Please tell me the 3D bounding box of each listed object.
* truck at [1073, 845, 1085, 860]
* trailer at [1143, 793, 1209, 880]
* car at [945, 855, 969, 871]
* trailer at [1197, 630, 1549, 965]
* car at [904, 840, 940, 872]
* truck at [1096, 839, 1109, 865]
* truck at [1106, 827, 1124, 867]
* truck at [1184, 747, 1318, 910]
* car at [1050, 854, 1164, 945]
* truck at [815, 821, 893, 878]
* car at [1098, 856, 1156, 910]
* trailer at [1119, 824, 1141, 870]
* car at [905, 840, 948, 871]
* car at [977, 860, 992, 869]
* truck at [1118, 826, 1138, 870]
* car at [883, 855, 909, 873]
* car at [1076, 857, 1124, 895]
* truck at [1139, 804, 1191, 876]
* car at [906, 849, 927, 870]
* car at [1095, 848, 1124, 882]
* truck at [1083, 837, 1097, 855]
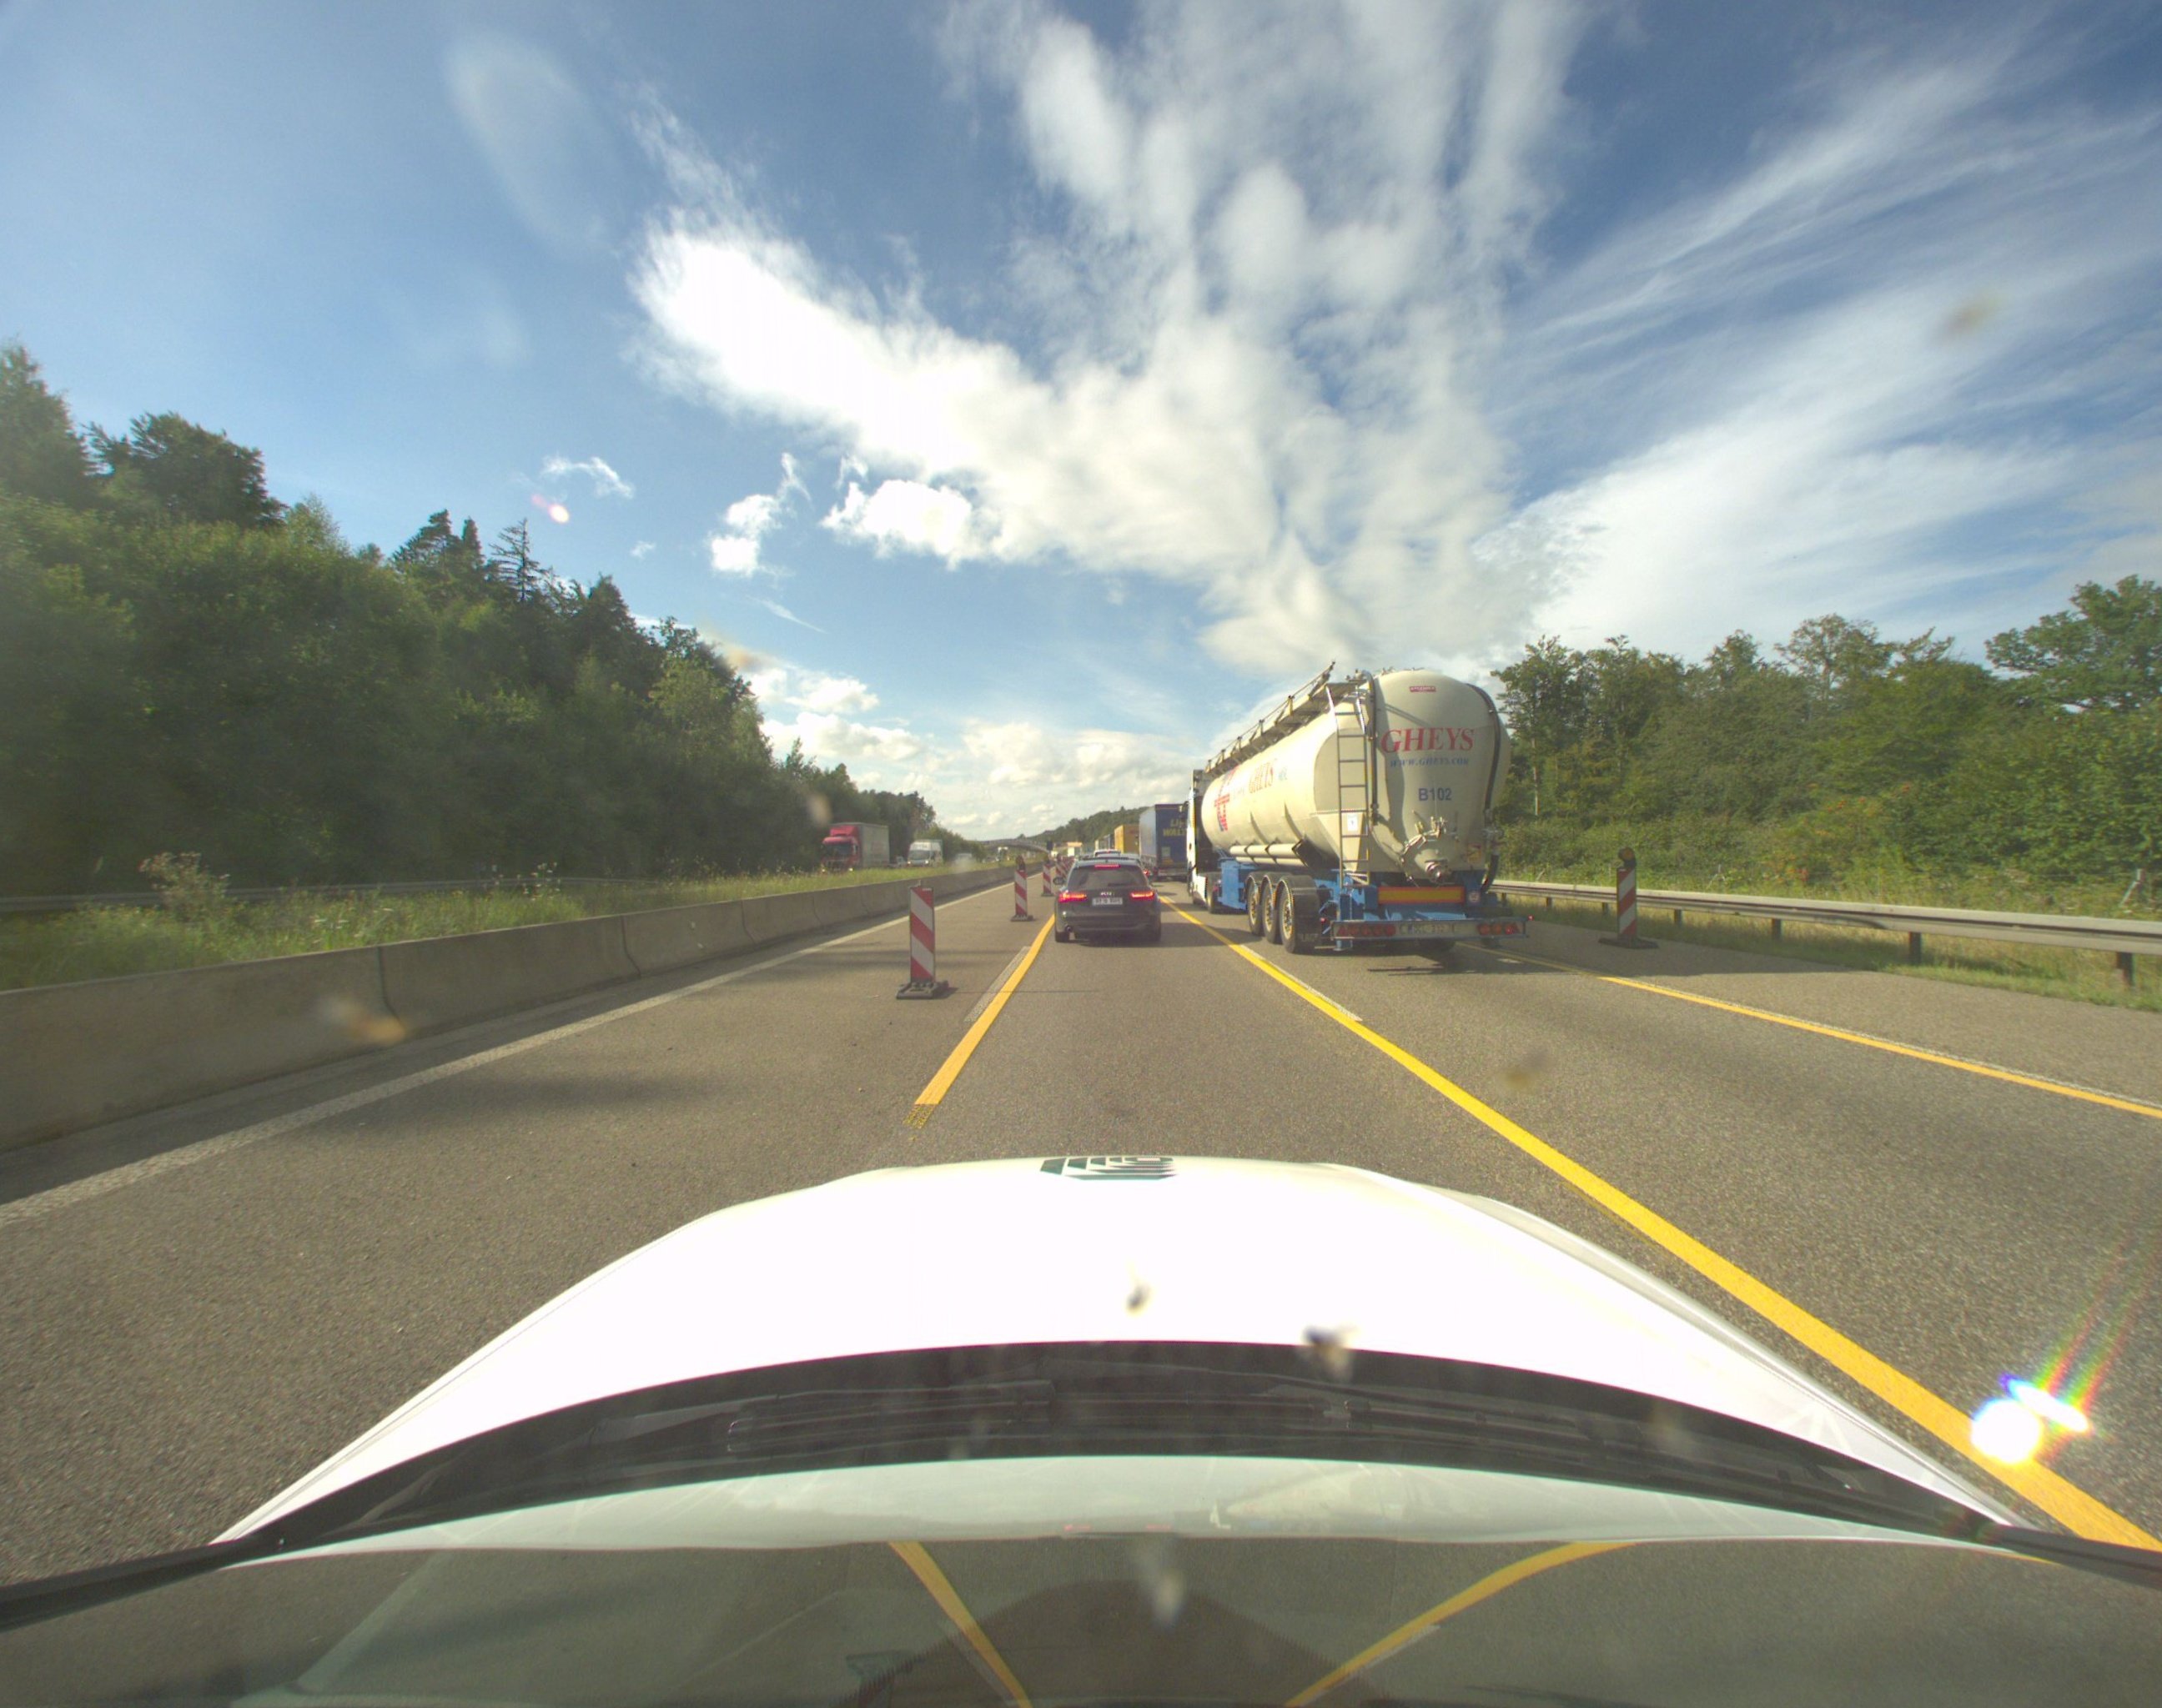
[{"bbox_3d":[-0.597,-0.496,231.682,3.295,4.175,9.695,-1,0,-2],"label":"truck"},{"bbox_3d":[5.168,-0.832,46.243,2.795,4.413,10.435,0,-1,1],"label":"trailer"},{"bbox_3d":[-13.939,1.006,91.816,1.937,1.813,4.120,0,-1,2],"label":"car"},{"bbox_3d":[4.338,-0.649,15.910,2.634,3.943,12.600,0,0,1],"label":"trailer"},{"bbox_3d":[-17.665,0.244,90.986,2.478,3.370,7.453,0,-1,1],"label":"car"},{"bbox_3d":[3.644,-0.273,138.231,2.130,4.257,7.072,0,-1,1],"label":"truck"},{"bbox_3d":[4.374,-0.876,105.348,1.987,4.914,9.561,0,0,0],"label":"truck"},{"bbox_3d":[4.502,-0.593,22.715,2.649,3.972,5.780,0,-1,1],"label":"truck"},{"bbox_3d":[0.479,0.758,15.285,1.842,1.463,4.001,-1,-1,1],"label":"car"},{"bbox_3d":[-17.150,-0.325,62.438,2.790,3.992,10.189,0,0,2],"label":"truck"},{"bbox_3d":[1.255,0.787,23.214,1.518,1.439,3.286,0,-1,1],"label":"car"},{"bbox_3d":[4.299,-0.549,71.806,1.611,3.918,6.489,0,-1,1],"label":"trailer"},{"bbox_3d":[-13.011,0.103,69.061,2.152,2.451,6.334,-1,1,2],"label":"car"},{"bbox_3d":[-14.776,1.635,124.954,1.772,1.387,4.312,0,-1,2],"label":"car"},{"bbox_3d":[4.339,-0.521,75.387,1.604,3.897,4.072,0,-1,1],"label":"truck"},{"bbox_3d":[-21.682,1.181,95.443,1.986,2.014,4.001,0,-1,1],"label":"car"},{"bbox_3d":[0.748,0.817,31.501,1.745,1.397,3.609,0,-1,1],"label":"car"},{"bbox_3d":[5.352,-0.803,53.094,2.796,4.370,7.793,0,-1,1],"label":"truck"},{"bbox_3d":[-21.230,0.752,105.305,2.247,2.643,5.009,0,-1,-6],"label":"car"},{"bbox_3d":[1.559,0.603,44.871,1.575,1.837,3.112,0,-1,1],"label":"car"},{"bbox_3d":[2.207,-1.843,201.335,3.294,4.175,9.699,-1,0,0],"label":"truck"}]
